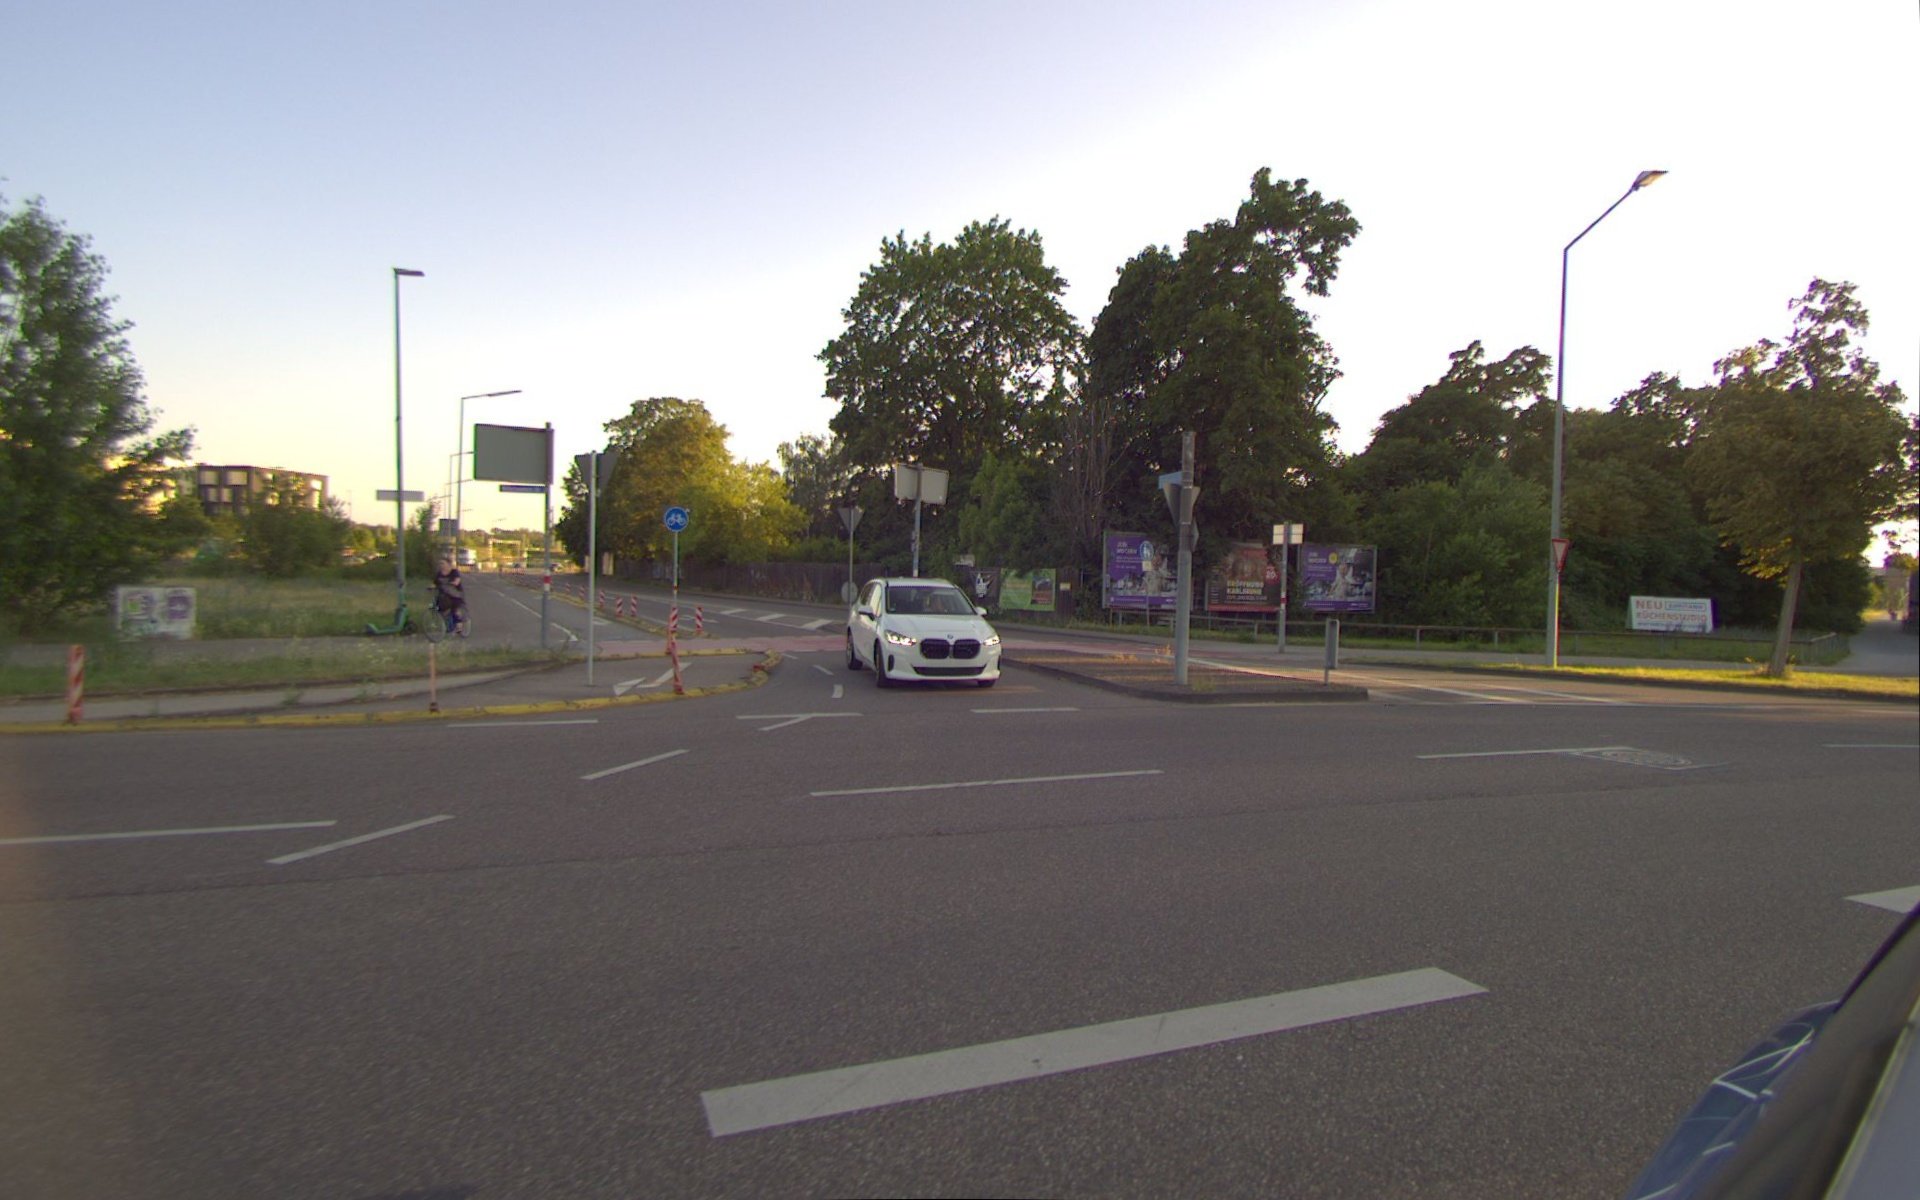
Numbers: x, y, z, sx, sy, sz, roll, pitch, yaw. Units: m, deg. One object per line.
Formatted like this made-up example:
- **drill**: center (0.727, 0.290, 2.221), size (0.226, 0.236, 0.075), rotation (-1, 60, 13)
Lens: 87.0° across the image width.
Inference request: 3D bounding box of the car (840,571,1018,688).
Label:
- **car**: center (-0.643, 0.369, 15.942), size (1.851, 1.578, 4.105), rotation (1, 1, -15)

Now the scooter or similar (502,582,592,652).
- **scooter or similar**: center (-7.254, 0.307, 17.809), size (1.359, 1.177, 0.442), rotation (3, -1, -41)

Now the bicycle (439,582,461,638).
- **bicycle**: center (-10.692, 0.192, 21.224), size (0.274, 1.102, 1.375), rotation (1, 1, -22)
